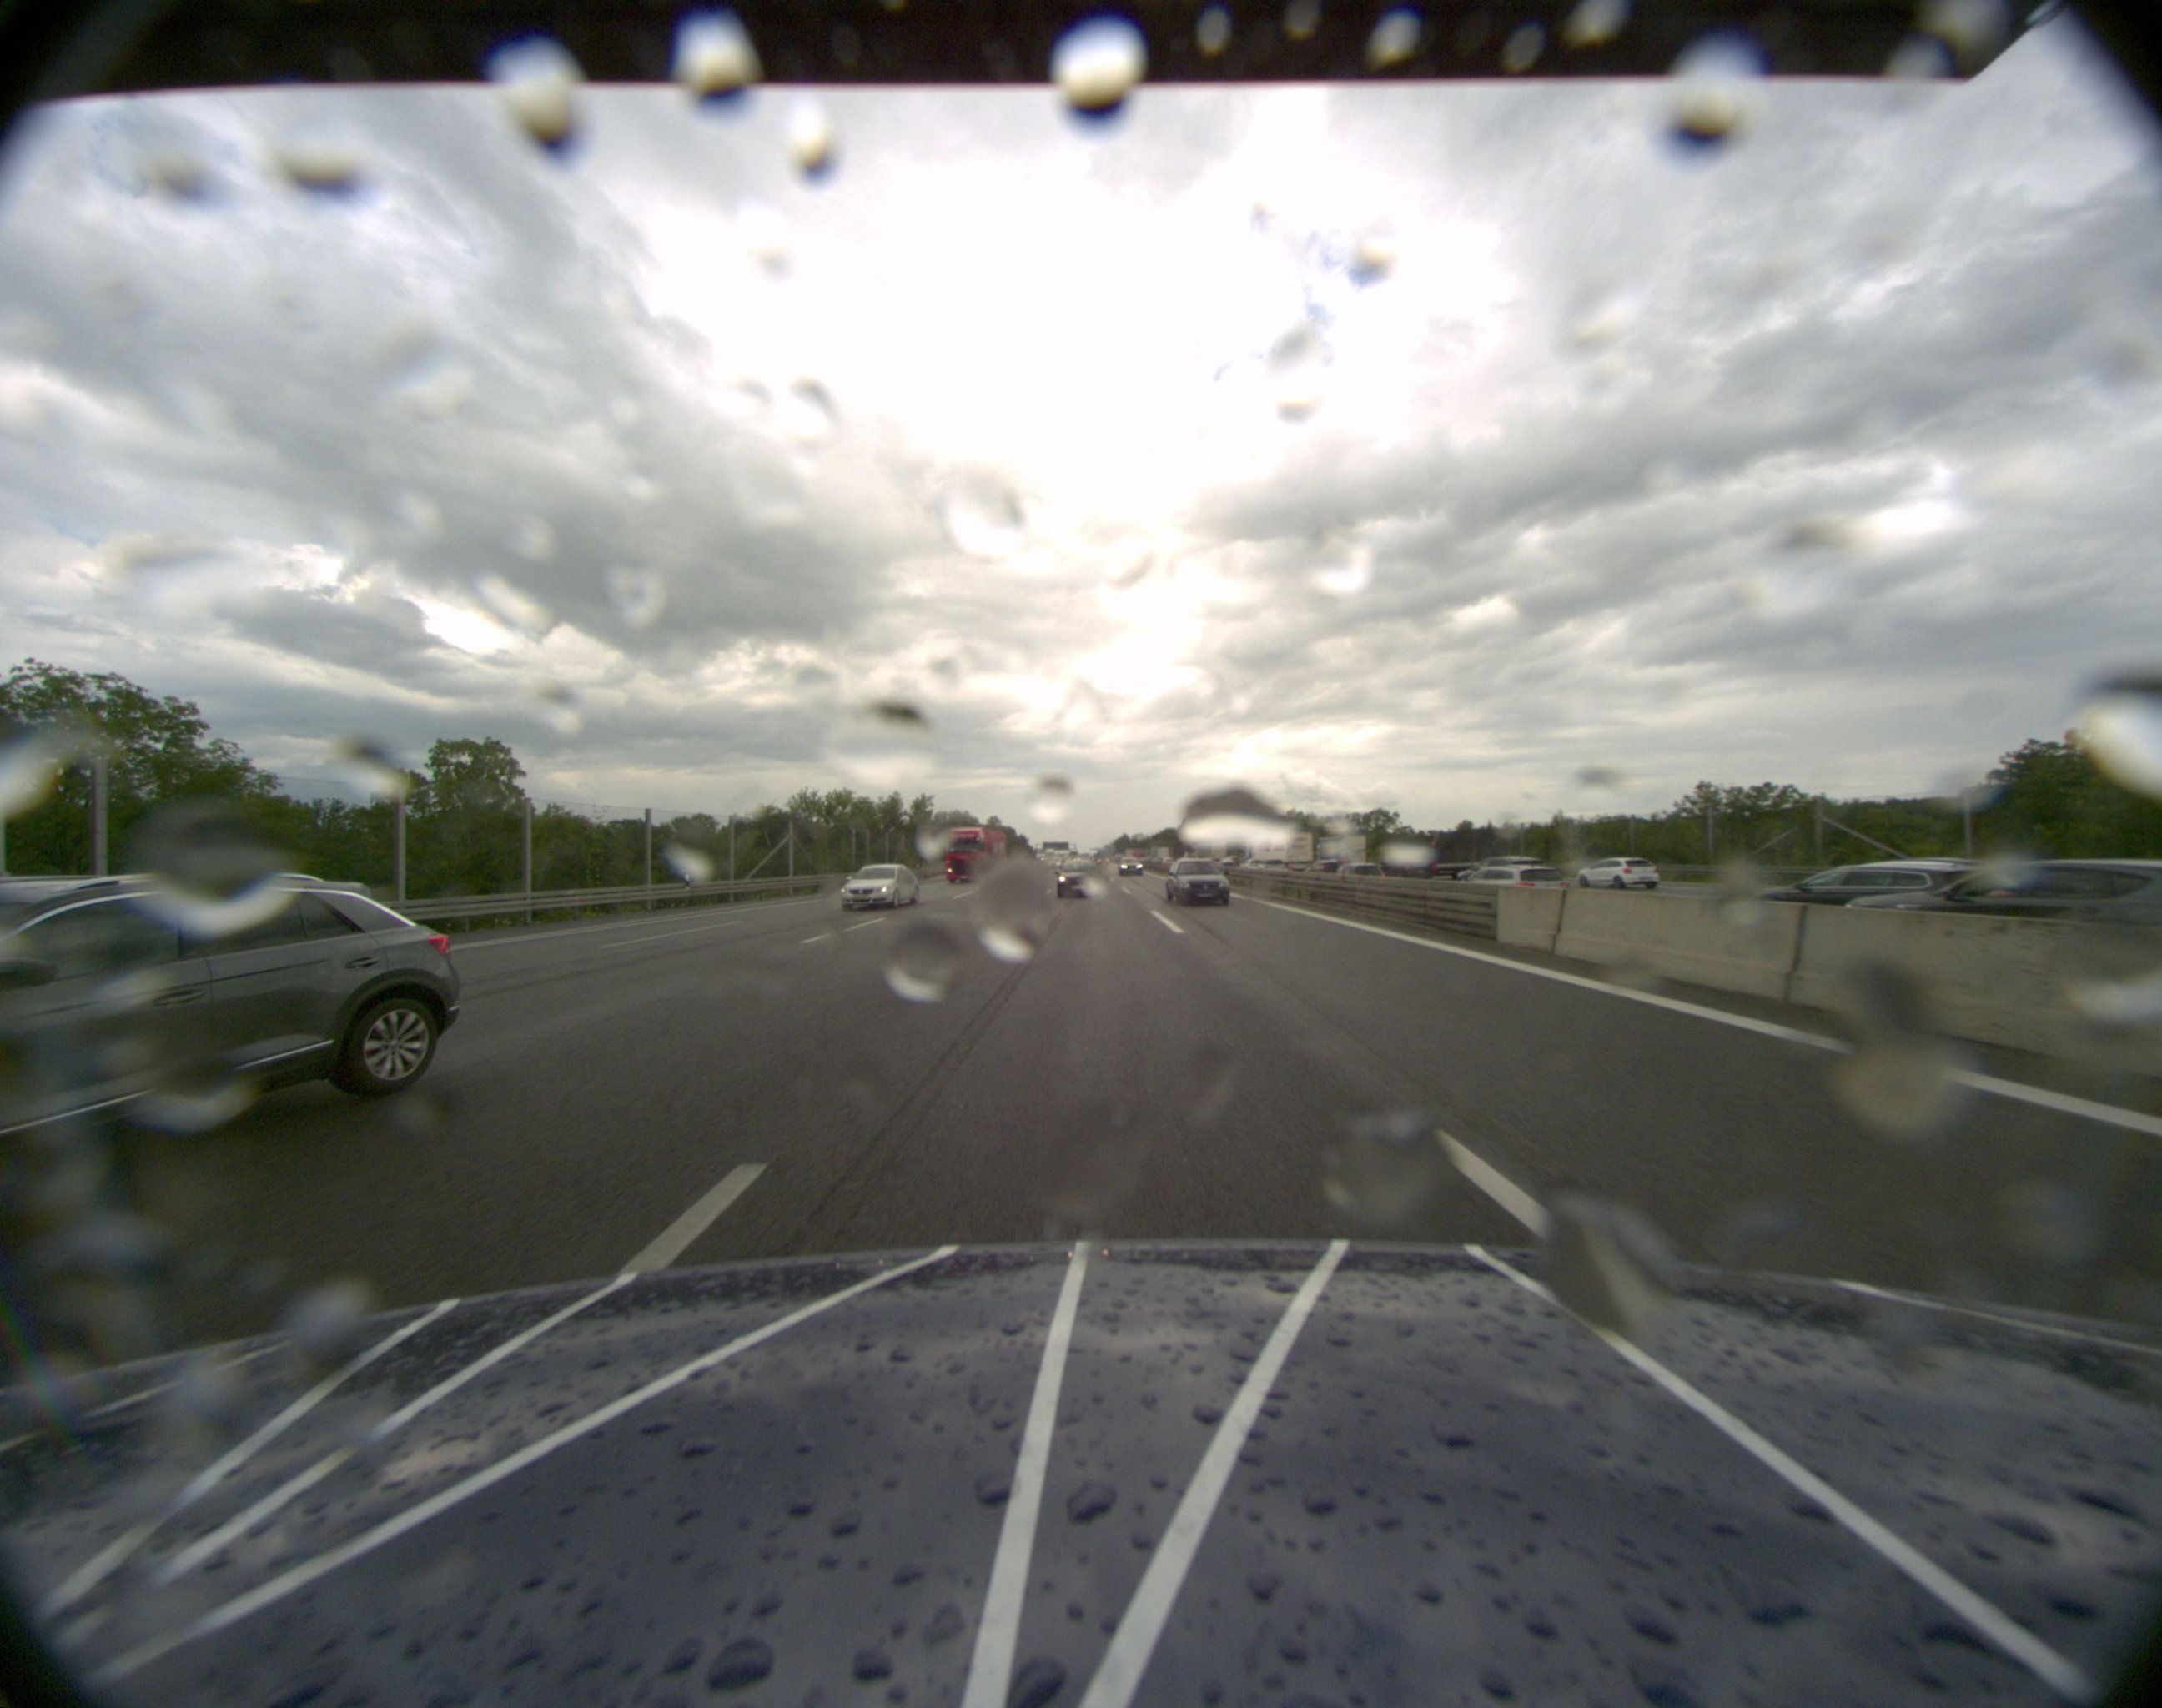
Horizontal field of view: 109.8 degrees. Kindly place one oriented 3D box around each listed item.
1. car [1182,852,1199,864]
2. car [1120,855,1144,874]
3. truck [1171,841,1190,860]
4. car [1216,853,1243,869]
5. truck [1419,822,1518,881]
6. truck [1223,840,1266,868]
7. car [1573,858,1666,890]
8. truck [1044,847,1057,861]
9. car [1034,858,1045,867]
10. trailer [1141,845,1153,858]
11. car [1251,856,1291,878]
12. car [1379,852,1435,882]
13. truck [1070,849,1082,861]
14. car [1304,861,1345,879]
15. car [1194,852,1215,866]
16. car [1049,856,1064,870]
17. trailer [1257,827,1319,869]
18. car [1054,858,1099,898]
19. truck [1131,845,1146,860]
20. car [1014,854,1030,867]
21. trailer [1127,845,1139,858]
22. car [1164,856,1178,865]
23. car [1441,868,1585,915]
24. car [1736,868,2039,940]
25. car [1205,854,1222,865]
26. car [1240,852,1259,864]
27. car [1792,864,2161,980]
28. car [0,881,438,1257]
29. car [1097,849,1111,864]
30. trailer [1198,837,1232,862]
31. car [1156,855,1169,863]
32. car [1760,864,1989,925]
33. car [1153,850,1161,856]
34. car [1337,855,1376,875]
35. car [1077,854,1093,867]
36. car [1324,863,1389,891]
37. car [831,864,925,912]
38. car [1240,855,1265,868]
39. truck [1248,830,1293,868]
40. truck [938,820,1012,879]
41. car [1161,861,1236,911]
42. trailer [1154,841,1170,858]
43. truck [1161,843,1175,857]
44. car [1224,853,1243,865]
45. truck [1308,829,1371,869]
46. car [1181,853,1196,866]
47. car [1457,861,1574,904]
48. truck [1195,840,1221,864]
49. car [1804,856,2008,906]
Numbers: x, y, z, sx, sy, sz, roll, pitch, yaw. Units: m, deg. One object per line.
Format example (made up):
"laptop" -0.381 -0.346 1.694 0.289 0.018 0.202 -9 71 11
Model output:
"car" 14.628 0.505 101.711 1.797 1.609 4.283 -1 0 1
"car" 4.194 0.852 62.686 1.751 1.489 4.015 -1 0 1
"truck" 18.738 -0.609 143.404 2.526 3.379 8.540 0 0 0
"car" 13.877 0.622 71.095 1.649 1.432 4.730 -1 0 1
"truck" 25.088 -0.114 49.718 2.470 3.516 7.807 -1 0 0
"truck" 25.201 0.140 118.064 2.655 3.997 17.747 -1 -1 0
"car" 25.696 0.940 36.427 1.587 1.418 4.003 -1 -1 0
"truck" -9.043 0.063 226.619 3.256 3.884 12.310 -2 0 -4
"car" -6.960 1.474 128.041 1.782 1.438 4.587 -1 0 -2
"trailer" 21.586 -0.816 248.834 2.888 4.121 13.029 0 0 1
"car" 14.668 1.004 58.944 1.877 1.637 4.722 -1 -1 0
"car" 21.149 0.825 49.496 1.587 1.879 4.820 -1 0 0
"truck" -1.741 0.338 262.184 2.959 3.776 12.323 -2 0 -5
"car" 18.062 1.188 56.596 1.707 1.281 4.187 -1 -1 0
"car" 14.165 0.543 87.378 1.797 1.609 4.000 -1 0 1
"car" -3.381 1.239 105.286 1.962 1.830 3.999 -1 0 -1
"trailer" 21.746 -0.532 80.602 3.195 4.169 11.957 -1 -1 0
"car" -0.119 0.922 30.773 1.668 1.431 4.405 -1 0 2
"truck" 17.063 -0.418 226.093 2.992 4.124 12.521 0 0 -1
"car" -7.292 0.841 93.818 1.820 1.534 4.357 -1 0 -2
"trailer" 16.849 -0.801 246.793 2.888 4.121 13.027 0 0 -1
"car" 14.229 0.966 120.398 1.724 1.346 4.626 0 0 0
"car" 13.919 1.151 24.879 1.894 1.332 4.945 -1 -1 0
"car" 17.527 1.000 16.941 1.894 1.332 4.564 -1 -1 0
"car" 18.974 0.754 108.980 1.649 1.501 4.860 -1 -1 1
"car" 22.517 0.527 101.727 1.649 1.536 4.000 -1 0 1
"car" 13.935 0.834 11.143 2.084 1.349 5.257 -1 -1 0
"car" -5.607 1.001 3.605 1.796 1.553 3.722 -2 0 3
"car" 3.831 0.376 125.576 1.999 2.354 4.171 -2 0 -1
"trailer" 21.940 -0.701 125.372 3.252 3.910 13.015 -2 0 0
"car" 14.354 0.937 134.098 1.724 1.346 4.535 0 0 0
"car" 21.251 1.020 20.663 1.625 1.438 4.417 -1 -1 0
"car" 22.244 -0.325 222.292 1.998 1.820 4.000 -1 0 1
"car" 22.082 0.900 61.048 1.649 1.554 4.105 -1 0 1
"car" 0.550 0.883 106.877 2.134 1.830 4.000 -1 0 0
"car" 13.627 1.096 37.787 1.707 1.281 4.187 -1 -1 0
"car" -6.847 1.103 26.076 1.898 1.438 4.246 -1 0 2
"car" 18.146 0.774 80.455 1.649 1.399 4.543 -1 0 1
"truck" 21.693 -0.529 87.507 3.186 4.169 7.738 -1 0 0
"truck" -7.967 -0.236 60.067 3.160 3.979 15.639 -1 0 2
"car" 3.674 0.954 24.572 1.781 1.399 5.017 -1 0 2
"trailer" 21.242 -1.151 199.436 2.825 4.037 11.602 -2 0 0
"truck" 24.909 -1.124 218.267 2.727 3.958 11.693 -1 0 0
"car" 22.257 0.696 110.991 1.973 1.737 4.575 -1 0 1
"truck" 26.264 -0.417 77.876 2.906 3.817 10.757 -1 -1 1
"car" 18.319 0.925 129.573 1.826 2.040 5.675 0 0 0
"car" 17.751 1.110 31.391 1.887 1.589 5.135 -1 -1 0
"truck" 22.014 -0.287 132.569 3.207 3.910 7.574 -2 0 0
"car" 25.833 0.799 24.061 1.766 1.418 4.342 -1 -1 0
